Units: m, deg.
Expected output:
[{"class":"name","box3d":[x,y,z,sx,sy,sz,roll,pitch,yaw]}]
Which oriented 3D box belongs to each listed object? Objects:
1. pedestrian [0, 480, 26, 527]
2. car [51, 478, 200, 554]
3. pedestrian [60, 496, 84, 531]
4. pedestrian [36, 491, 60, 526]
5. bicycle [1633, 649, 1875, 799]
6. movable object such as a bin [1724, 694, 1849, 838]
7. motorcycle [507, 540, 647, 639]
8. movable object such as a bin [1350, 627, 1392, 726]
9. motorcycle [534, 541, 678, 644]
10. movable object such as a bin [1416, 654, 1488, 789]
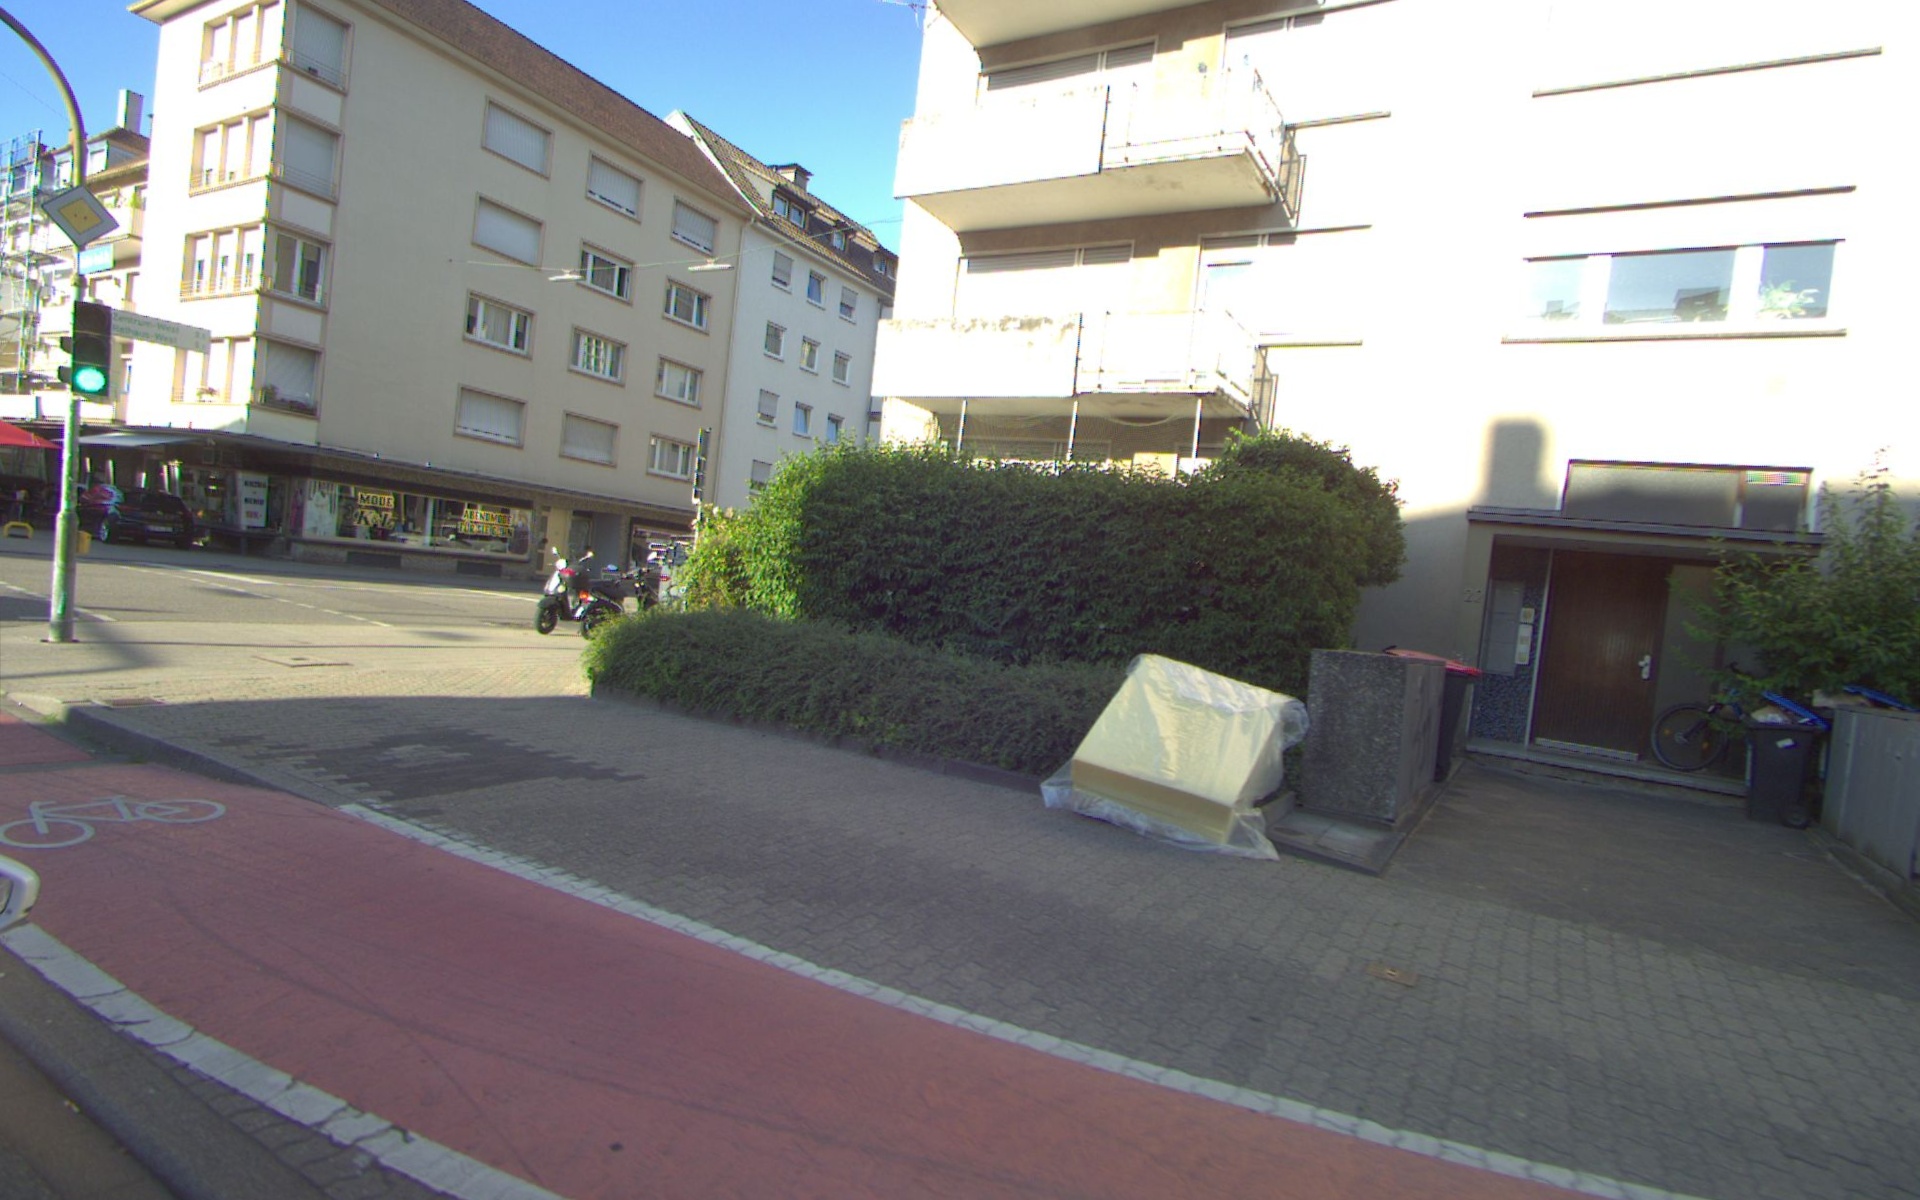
[{"class":"pedestrian","box3d":[-26.438,-2.680,27.757,0.841,1.213,0.729,7,2,32]},{"class":"car","box3d":[-21.540,-2.186,25.938,3.934,1.505,1.777,7,1,32]},{"class":"pedestrian","box3d":[-27.467,-2.687,31.107,0.513,1.009,0.372,7,2,31]},{"class":"pedestrian","box3d":[-28.858,-2.895,31.828,0.513,1.009,0.372,7,2,31]},{"class":"bicycle","box3d":[7.943,1.209,10.159,1.766,1.198,0.356,7,2,32]},{"class":"movable object such as a bin","box3d":[7.301,1.438,8.921,0.644,1.100,0.742,7,2,32]},{"class":"motorcycle","box3d":[-6.040,-0.132,15.961,0.683,1.379,1.913,8,1,36]},{"class":"movable object such as a bin","box3d":[4.935,0.917,12.078,0.311,1.142,0.199,7,2,30]},{"class":"motorcycle","box3d":[-5.370,-0.083,15.375,0.683,1.379,1.913,8,1,36]},{"class":"movable object such as a bin","box3d":[4.512,1.093,9.216,0.410,1.142,0.632,8,2,32]}]
